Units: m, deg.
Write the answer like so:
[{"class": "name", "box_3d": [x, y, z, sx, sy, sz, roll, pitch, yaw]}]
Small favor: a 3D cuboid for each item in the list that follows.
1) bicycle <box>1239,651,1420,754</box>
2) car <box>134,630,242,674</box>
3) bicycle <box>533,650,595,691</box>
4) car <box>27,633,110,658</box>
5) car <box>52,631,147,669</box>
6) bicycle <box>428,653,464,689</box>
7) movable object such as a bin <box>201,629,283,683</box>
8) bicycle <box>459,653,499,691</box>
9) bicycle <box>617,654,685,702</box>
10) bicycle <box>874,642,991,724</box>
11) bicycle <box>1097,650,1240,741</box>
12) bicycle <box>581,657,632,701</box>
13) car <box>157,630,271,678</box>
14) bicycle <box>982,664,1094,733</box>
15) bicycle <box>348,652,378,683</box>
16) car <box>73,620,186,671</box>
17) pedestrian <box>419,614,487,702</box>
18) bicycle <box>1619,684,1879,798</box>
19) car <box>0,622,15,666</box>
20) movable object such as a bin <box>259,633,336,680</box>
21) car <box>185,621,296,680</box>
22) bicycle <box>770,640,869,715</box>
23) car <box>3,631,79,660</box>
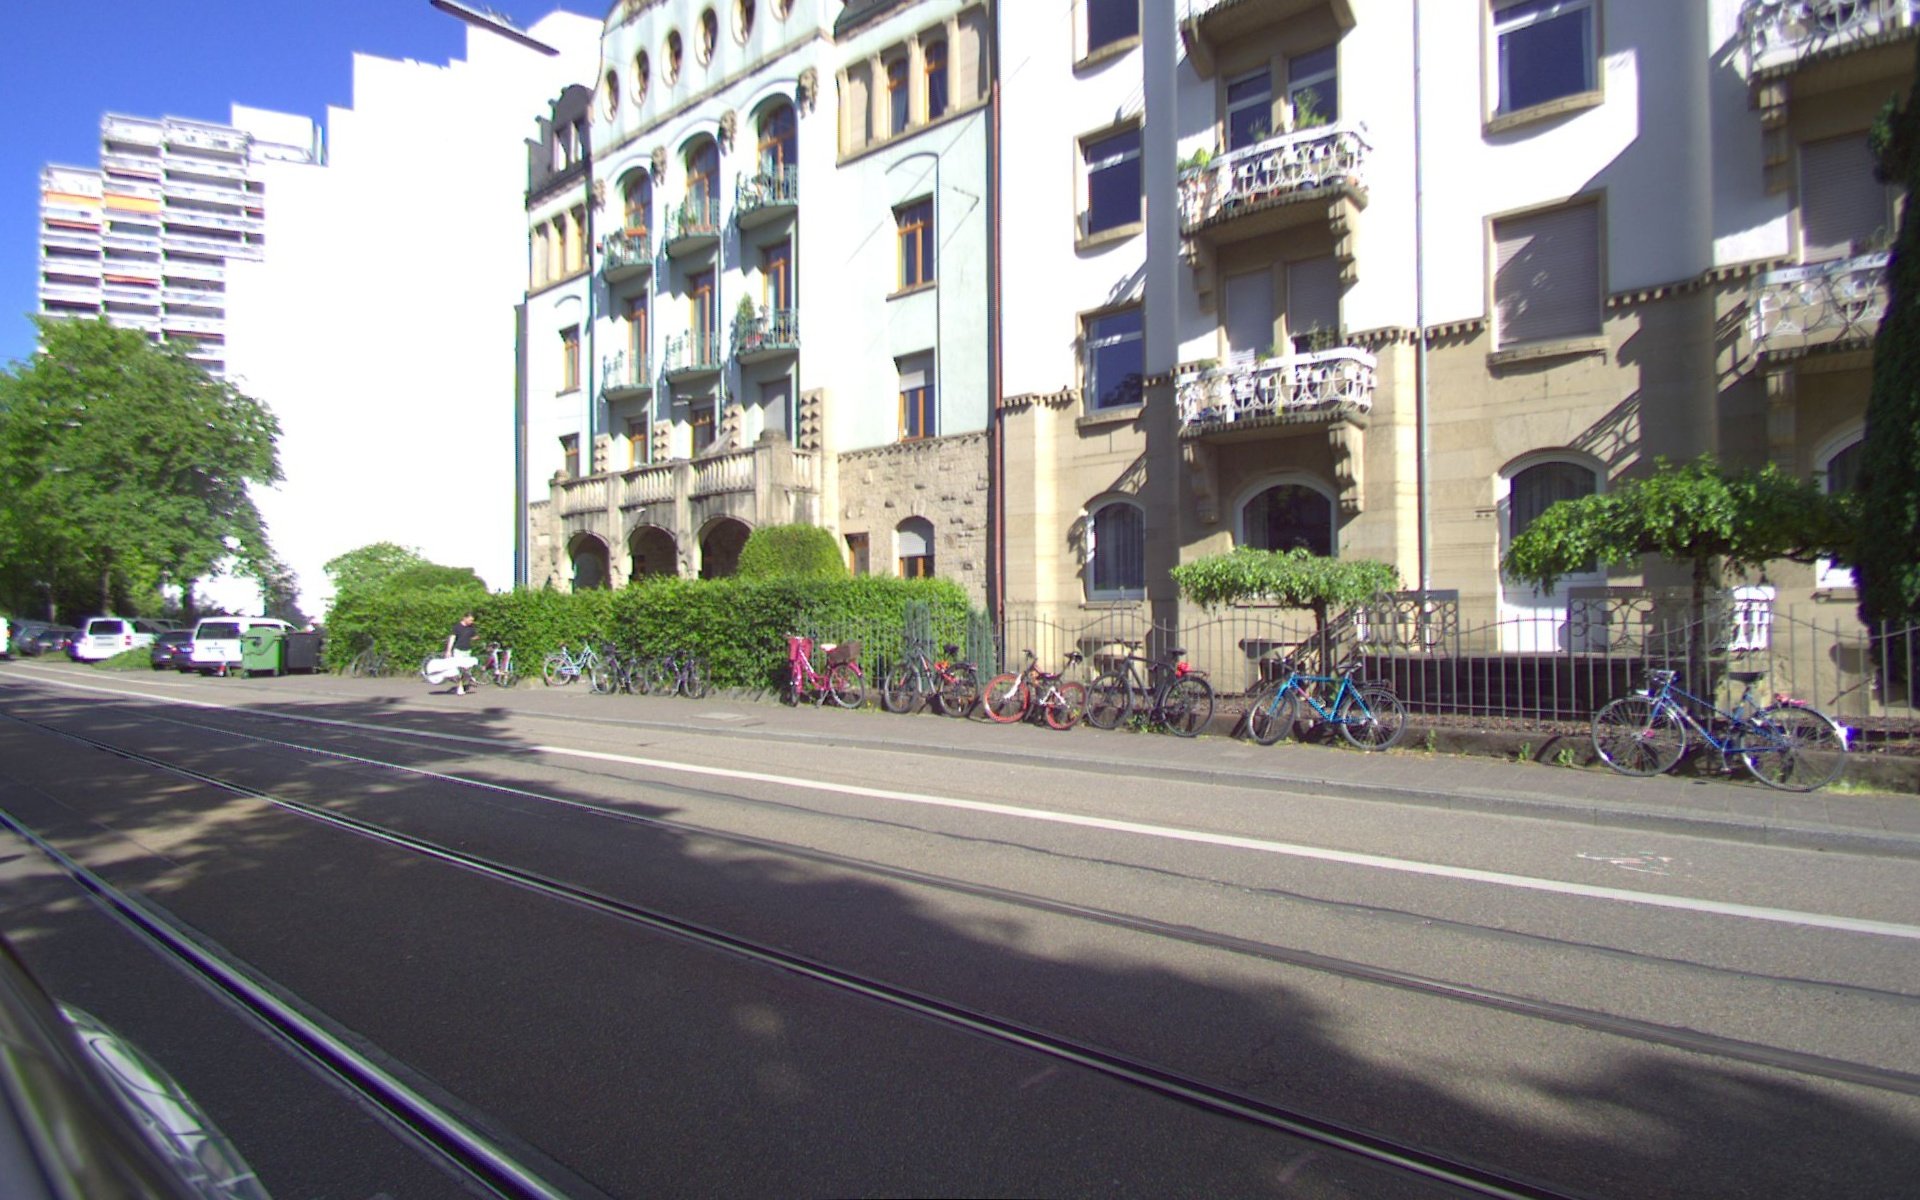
[{"class": "bicycle", "box_3d": [3.830, 1.039, 10.604, 1.748, 0.949, 0.400, -1, 0, 41]}, {"class": "car", "box_3d": [-27.689, 1.830, 36.351, 1.451, 1.446, 2.734, -1, 0, 24]}, {"class": "bicycle", "box_3d": [-8.574, 1.520, 21.943, 0.297, 0.799, 1.246, -1, 0, 41]}, {"class": "car", "box_3d": [-42.927, 2.179, 48.769, 1.220, 1.097, 2.734, -1, 0, 24]}, {"class": "car", "box_3d": [-36.170, 2.083, 42.591, 1.451, 1.446, 2.734, -1, 0, 24]}, {"class": "bicycle", "box_3d": [-11.954, 1.631, 23.506, 1.263, 0.767, 0.293, -1, 0, 41]}, {"class": "movable object such as a bin", "box_3d": [-20.814, 1.590, 29.338, 2.095, 1.443, 1.493, -1, 0, 41]}, {"class": "bicycle", "box_3d": [-10.610, 1.582, 22.323, 1.263, 0.767, 0.314, -1, 0, 41]}, {"class": "bicycle", "box_3d": [-5.581, 1.392, 18.241, 1.581, 0.767, 0.400, -1, 0, 41]}, {"class": "bicycle", "box_3d": [-0.406, 1.115, 14.025, 1.815, 1.031, 0.400, -1, 0, 41]}, {"class": "bicycle", "box_3d": [2.399, 1.079, 11.782, 1.648, 0.949, 0.400, -1, 0, 41]}, {"class": "bicycle", "box_3d": [-6.723, 1.484, 19.217, 1.263, 0.767, 0.335, -1, 0, 41]}, {"class": "car", "box_3d": [-25.132, 1.797, 34.163, 1.451, 1.446, 2.734, -1, 0, 24]}, {"class": "bicycle", "box_3d": [0.969, 1.226, 12.858, 1.542, 0.767, 0.314, -1, 0, 41]}, {"class": "bicycle", "box_3d": [-15.644, 1.760, 26.494, 1.263, 0.767, 0.293, -1, 0, 41]}, {"class": "car", "box_3d": [-33.299, 1.794, 40.695, 1.894, 1.885, 3.447, -1, 0, -4]}, {"class": "pedestrian", "box_3d": [-10.236, 1.146, 20.431, 0.870, 1.640, 0.858, -1, 4, 41]}, {"class": "bicycle", "box_3d": [6.412, 1.119, 8.306, 1.651, 0.767, 0.314, -1, 0, 41]}, {"class": "car", "box_3d": [-44.873, 2.010, 46.370, 1.968, 1.918, 4.008, -1, 0, -39]}, {"class": "movable object such as a bin", "box_3d": [-20.462, 1.717, 31.262, 2.095, 1.326, 1.482, -1, 0, 41]}, {"class": "car", "box_3d": [-22.830, 1.614, 32.233, 1.438, 1.787, 3.189, -1, -3, -5]}, {"class": "bicycle", "box_3d": [-2.162, 1.156, 15.440, 1.815, 1.031, 0.400, -1, 0, 41]}, {"class": "car", "box_3d": [-48.451, 2.377, 53.377, 1.220, 1.436, 2.734, -1, 0, 24]}]
